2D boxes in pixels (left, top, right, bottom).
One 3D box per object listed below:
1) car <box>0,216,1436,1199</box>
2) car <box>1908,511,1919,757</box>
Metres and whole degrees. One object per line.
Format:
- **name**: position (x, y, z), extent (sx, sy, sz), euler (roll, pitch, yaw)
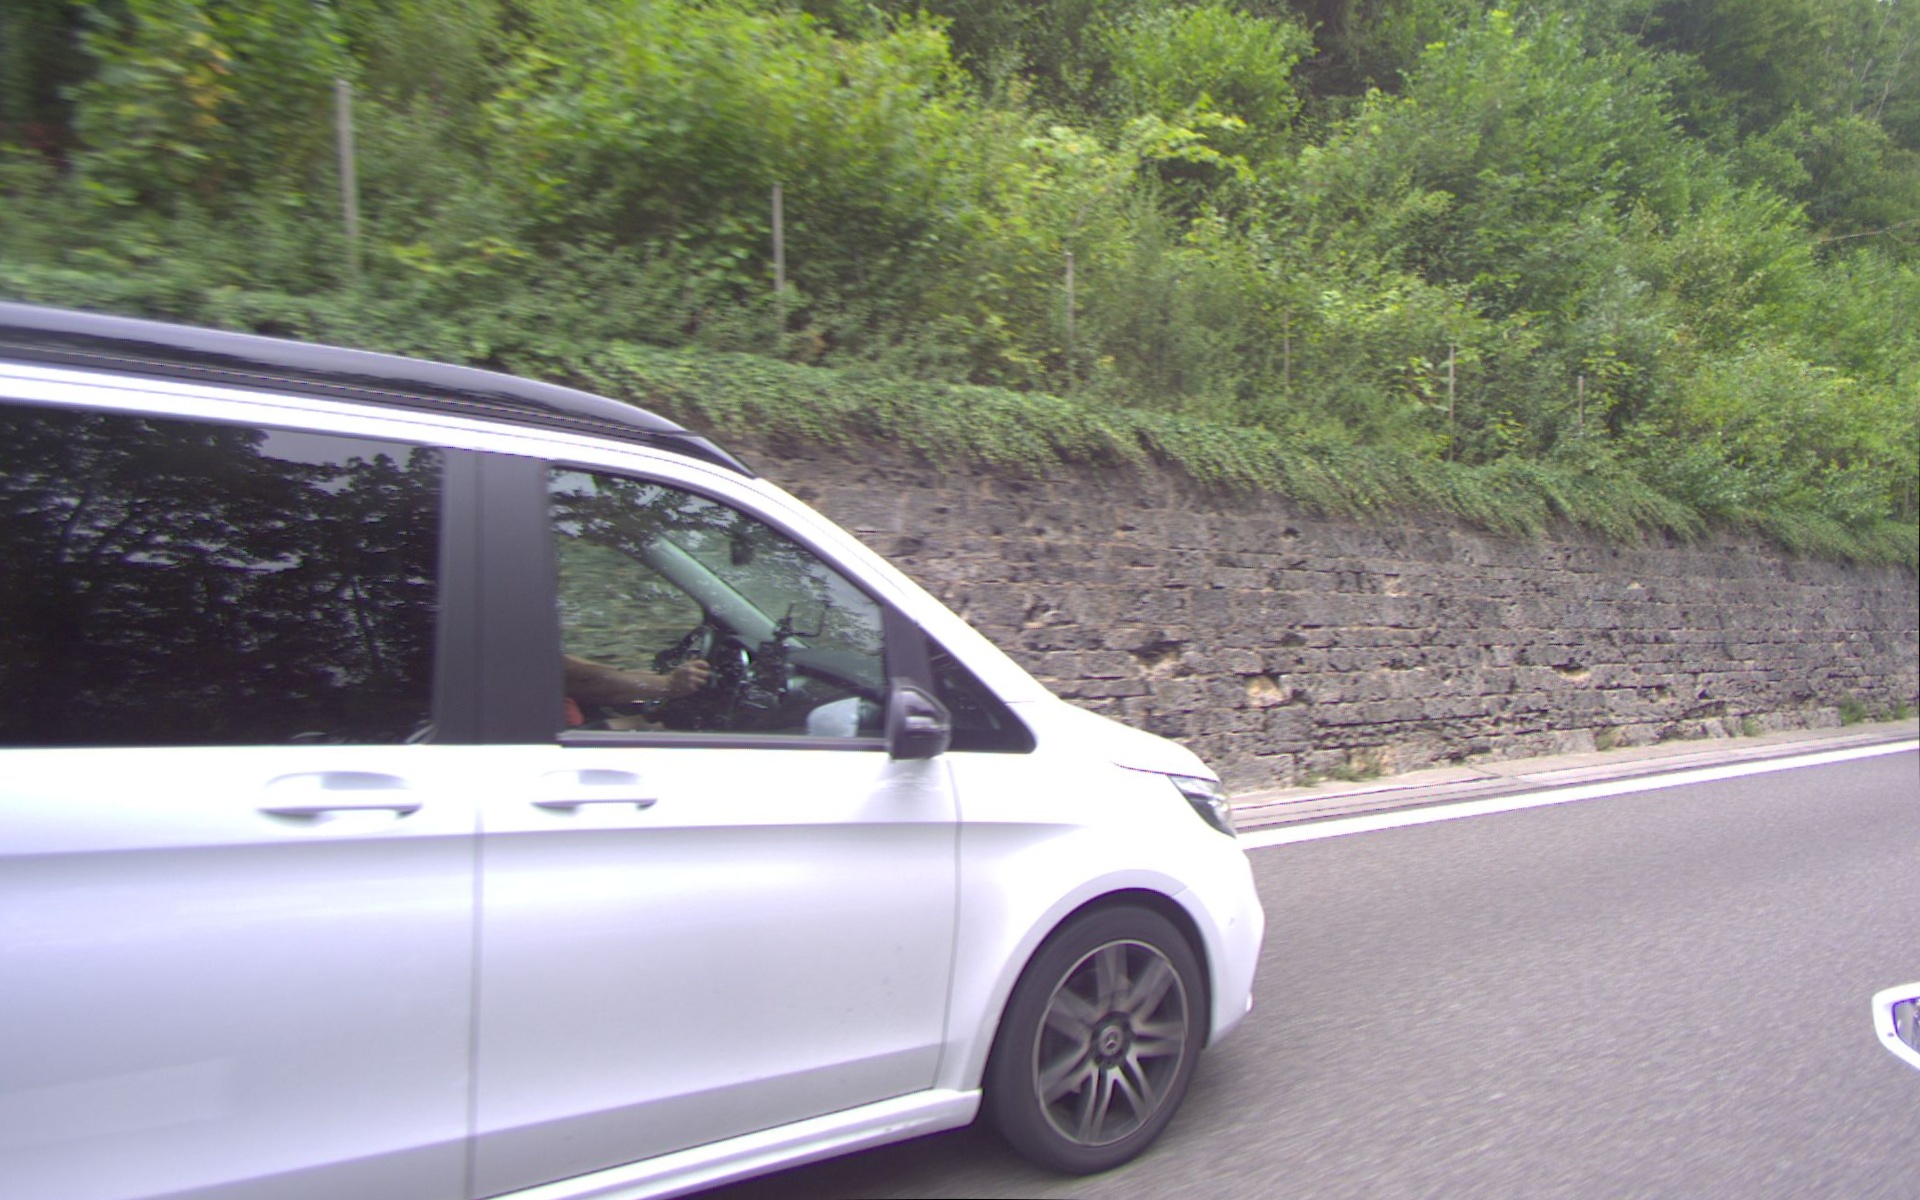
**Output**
- **car**: position (-1.640, 0.437, 2.421), extent (6.076, 1.979, 1.983), euler (1, 1, -31)
- **car**: position (13.336, 0.425, 11.528), extent (6.203, 2.619, 2.016), euler (2, -1, -31)
